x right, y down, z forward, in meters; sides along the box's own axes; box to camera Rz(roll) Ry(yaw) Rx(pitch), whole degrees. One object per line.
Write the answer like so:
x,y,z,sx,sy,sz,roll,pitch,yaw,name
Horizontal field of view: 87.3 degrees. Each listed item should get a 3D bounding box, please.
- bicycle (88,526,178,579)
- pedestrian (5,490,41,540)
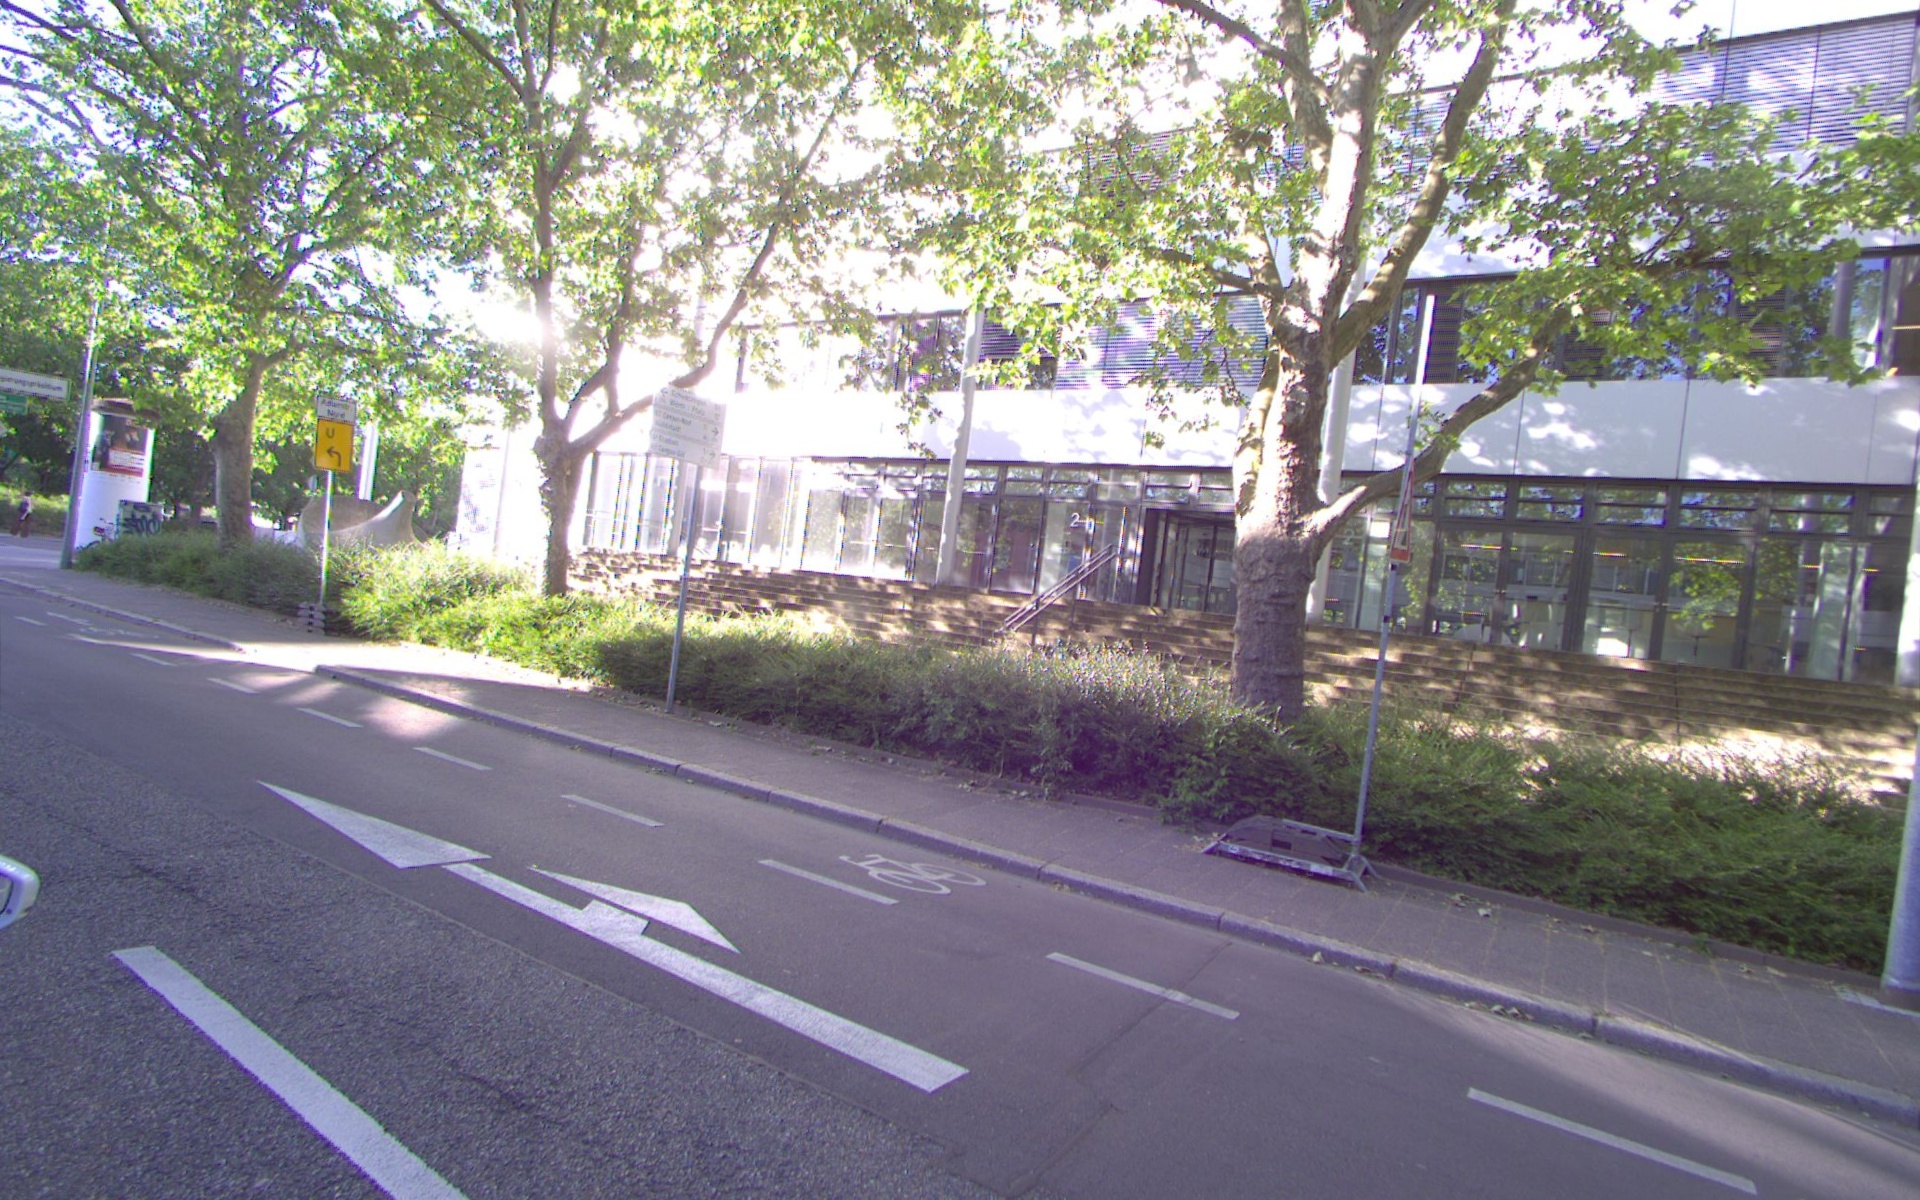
-19.033,-1.074,23.174,0.295,0.991,1.484,6,-2,37,bicycle
-35.472,-3.205,38.092,0.672,1.793,0.613,8,-1,-29,pedestrian
